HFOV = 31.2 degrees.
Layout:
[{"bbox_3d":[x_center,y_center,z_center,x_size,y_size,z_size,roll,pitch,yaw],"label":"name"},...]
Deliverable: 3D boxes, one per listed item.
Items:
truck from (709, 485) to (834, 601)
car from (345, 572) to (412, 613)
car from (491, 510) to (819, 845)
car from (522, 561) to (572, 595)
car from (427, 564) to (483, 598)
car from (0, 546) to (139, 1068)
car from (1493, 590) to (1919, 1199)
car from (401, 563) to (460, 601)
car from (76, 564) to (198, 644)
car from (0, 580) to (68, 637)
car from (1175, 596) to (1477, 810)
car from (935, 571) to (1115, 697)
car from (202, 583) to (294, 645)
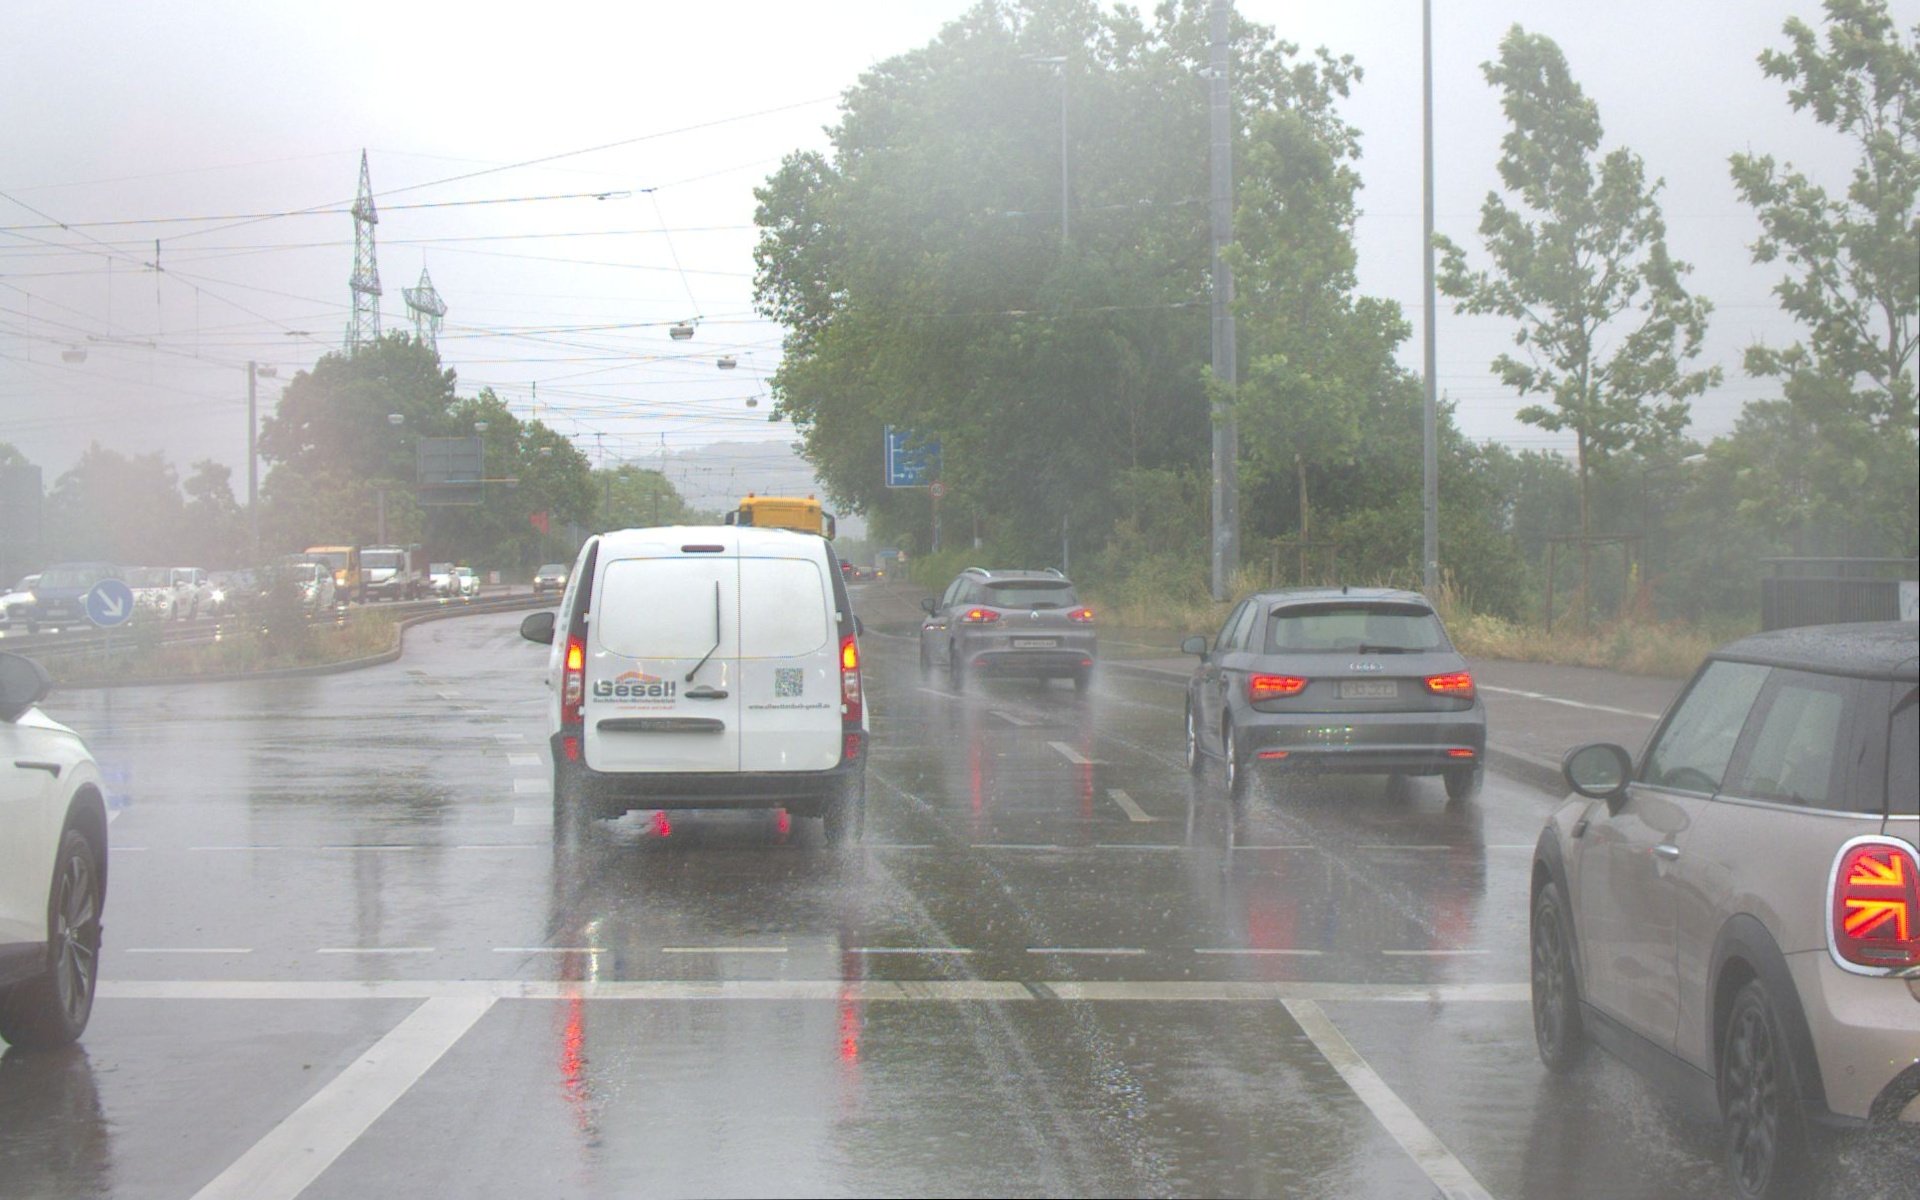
[{"bbox_3d":[-4.893,-1.399,88.104,2.632,2.807,7.147,1,0,-7],"label":"truck"},{"bbox_3d":[-24.524,-0.310,145.065,1.993,1.657,4.000,1,0,2],"label":"car"},{"bbox_3d":[-1.709,0.414,20.347,1.566,1.782,4.000,0,0,0],"label":"car"},{"bbox_3d":[-21.847,-1.157,181.883,1.993,1.751,4.000,1,0,2],"label":"car"},{"bbox_3d":[-24.578,-0.932,167.484,1.993,1.581,4.000,1,0,2],"label":"car"},{"bbox_3d":[-3.660,0.600,9.641,1.729,1.530,4.298,1,1,-1],"label":"car"},{"bbox_3d":[2.609,0.739,9.287,1.713,1.503,3.624,1,0,-1],"label":"car"},{"bbox_3d":[-24.599,-0.804,159.783,1.993,1.702,4.000,1,0,2],"label":"car"},{"bbox_3d":[-21.396,0.107,89.509,1.994,2.007,3.999,1,0,4],"label":"car"},{"bbox_3d":[-25.604,0.228,93.056,1.770,1.482,3.840,1,0,2],"label":"car"},{"bbox_3d":[2.441,0.659,23.655,1.629,1.340,3.624,1,0,-1],"label":"car"},{"bbox_3d":[0.743,0.380,41.864,1.859,1.424,3.808,1,1,-4],"label":"car"},{"bbox_3d":[-21.149,0.413,102.220,1.824,1.801,3.768,1,0,2],"label":"car"}]
